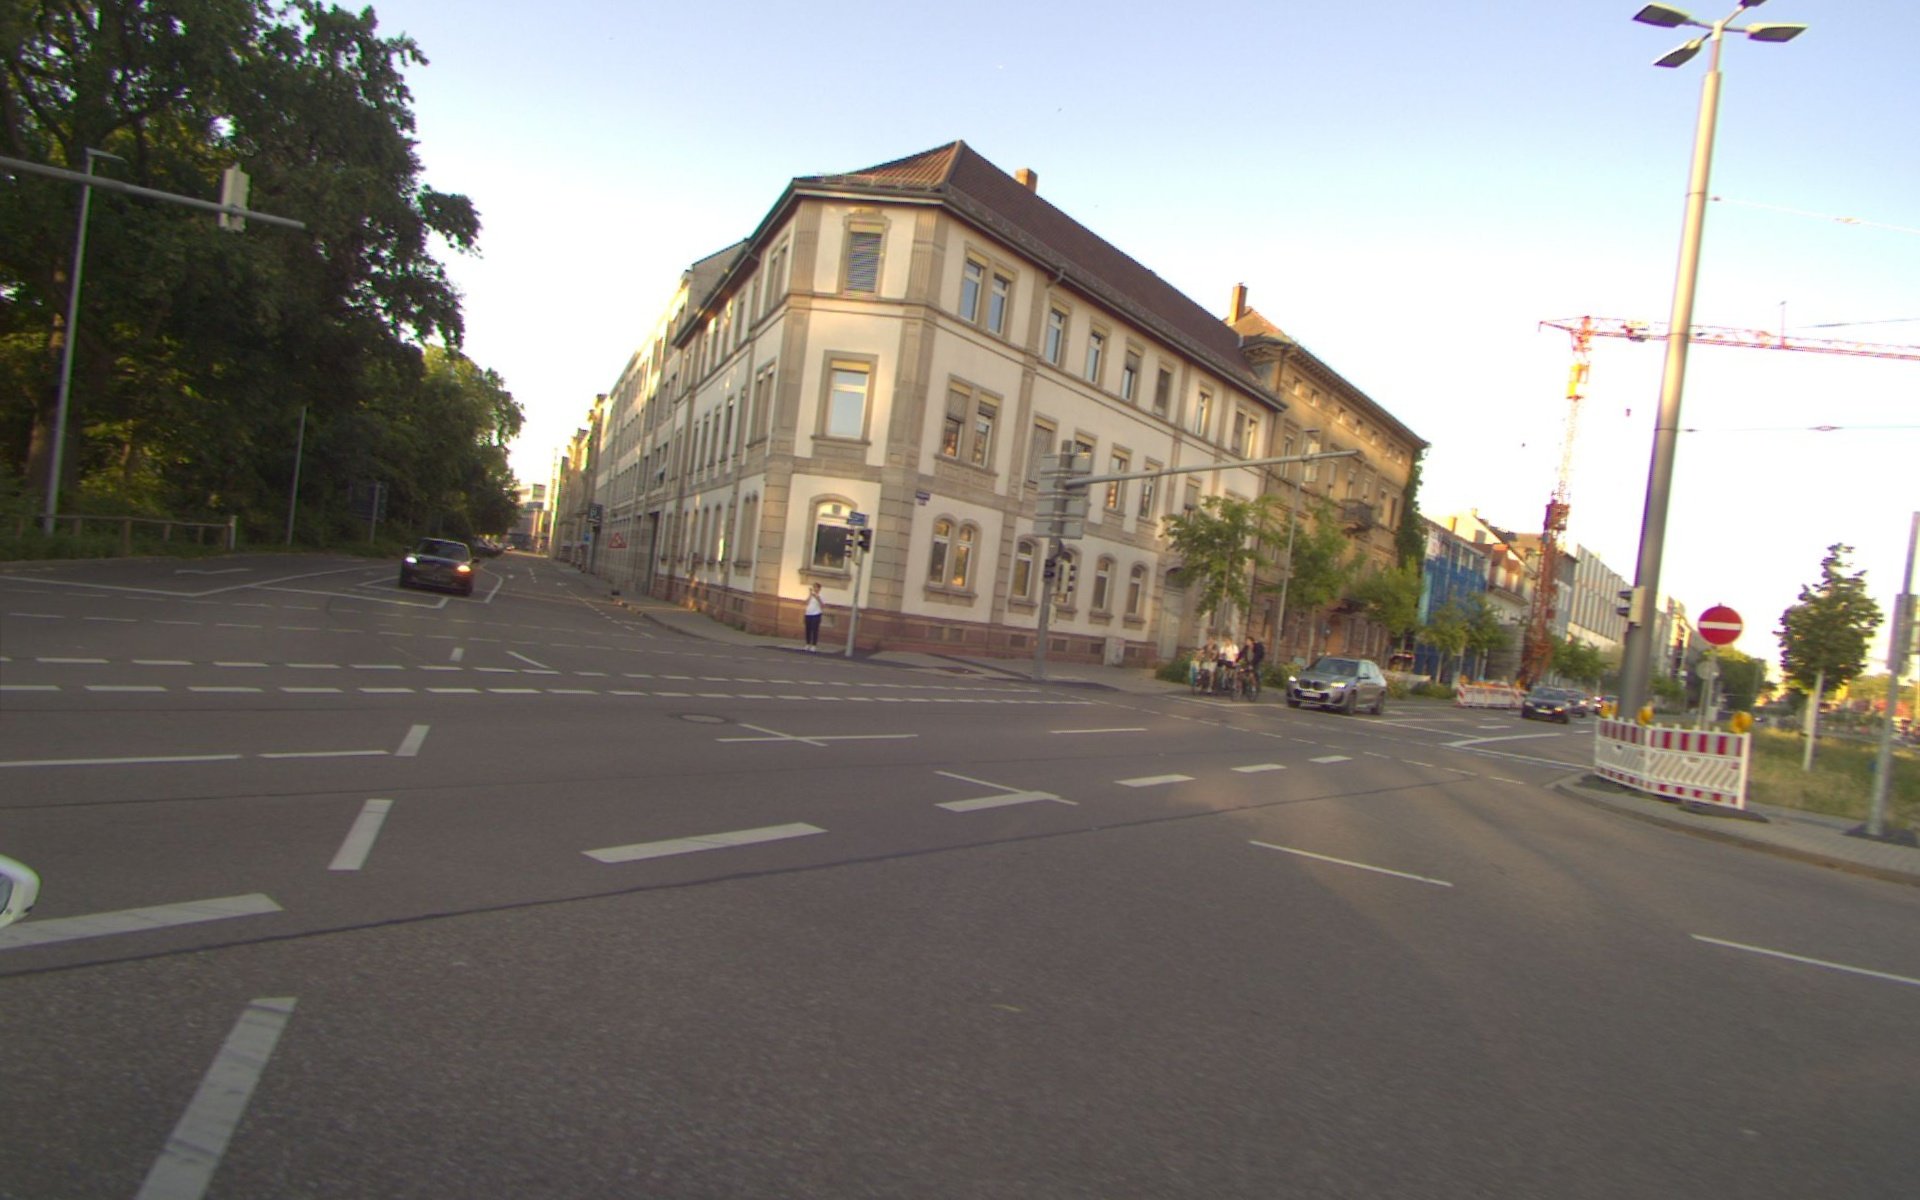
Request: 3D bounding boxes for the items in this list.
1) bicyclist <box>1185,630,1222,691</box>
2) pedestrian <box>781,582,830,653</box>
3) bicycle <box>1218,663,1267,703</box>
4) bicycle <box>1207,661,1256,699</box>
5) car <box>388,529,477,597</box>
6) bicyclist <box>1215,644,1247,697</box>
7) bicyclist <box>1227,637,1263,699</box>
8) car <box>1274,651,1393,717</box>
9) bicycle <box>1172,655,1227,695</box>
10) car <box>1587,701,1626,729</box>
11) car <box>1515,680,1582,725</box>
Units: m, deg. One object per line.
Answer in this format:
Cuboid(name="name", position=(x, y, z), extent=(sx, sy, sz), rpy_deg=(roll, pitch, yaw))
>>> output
Cuboid(name="bicyclist", position=(7.240, 1.796, 29.928), extent=(0.503, 1.724, 0.763), rpy_deg=(11, 5, 43))
Cuboid(name="pedestrian", position=(-3.858, 0.445, 25.177), extent=(0.803, 1.677, 0.636), rpy_deg=(8, 1, 20))
Cuboid(name="bicycle", position=(8.266, 2.432, 29.368), extent=(0.710, 1.064, 2.038), rpy_deg=(5, -1, 34))
Cuboid(name="bicycle", position=(8.525, 2.513, 31.558), extent=(0.510, 1.064, 2.034), rpy_deg=(9, 1, 42))
Cuboid(name="car", position=(-14.772, -1.040, 28.343), extent=(1.807, 1.535, 3.555), rpy_deg=(8, -1, -24))
Cuboid(name="bicyclist", position=(8.475, 2.198, 31.435), extent=(0.505, 1.568, 0.689), rpy_deg=(9, 2, 42))
Cuboid(name="bicyclist", position=(8.343, 1.975, 29.417), extent=(0.694, 1.722, 0.766), rpy_deg=(5, 0, 33))
Cuboid(name="car", position=(11.097, 2.514, 29.705), extent=(1.809, 1.616, 4.241), rpy_deg=(7, -1, 41))
Cuboid(name="bicycle", position=(7.129, 2.236, 29.898), extent=(0.521, 1.065, 2.036), rpy_deg=(11, 4, 43))
Cuboid(name="car", position=(44.845, 7.975, 69.767), extent=(1.680, 1.616, 3.873), rpy_deg=(7, -1, 41))
Cuboid(name="car", position=(25.644, 4.481, 43.801), extent=(1.680, 1.616, 4.241), rpy_deg=(7, -1, 41))
